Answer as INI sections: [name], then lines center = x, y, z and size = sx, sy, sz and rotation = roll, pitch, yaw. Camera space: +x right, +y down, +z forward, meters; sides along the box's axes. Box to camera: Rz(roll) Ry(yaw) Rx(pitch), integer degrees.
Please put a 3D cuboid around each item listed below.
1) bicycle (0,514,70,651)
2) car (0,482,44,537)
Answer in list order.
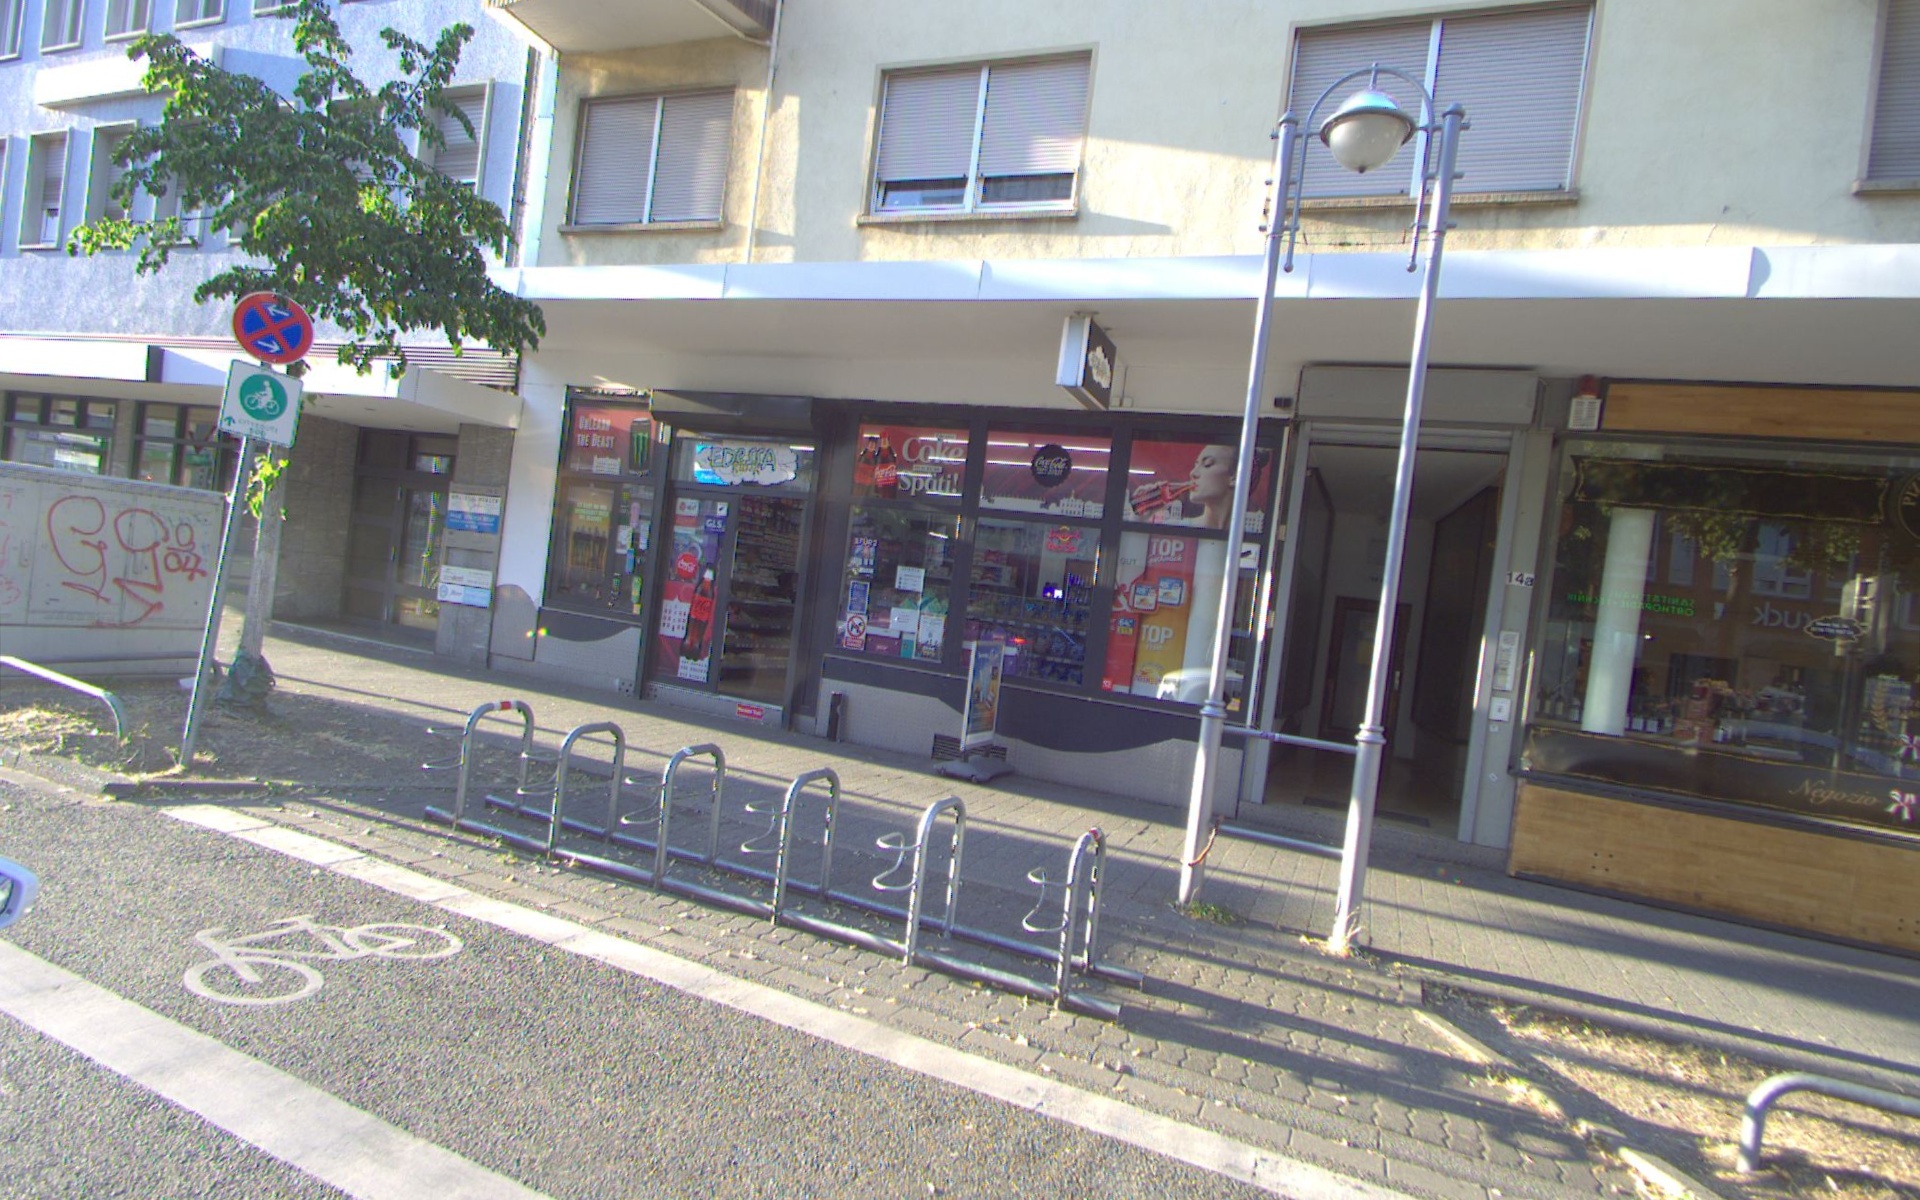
[bicycle]
center = -9.117, -0.208, 9.105
size = 0.376, 1.234, 1.445
rotation = 7, -1, 25
[car]
center = -28.687, -2.777, 28.263
size = 1.784, 1.491, 4.419
rotation = 8, 0, -1
